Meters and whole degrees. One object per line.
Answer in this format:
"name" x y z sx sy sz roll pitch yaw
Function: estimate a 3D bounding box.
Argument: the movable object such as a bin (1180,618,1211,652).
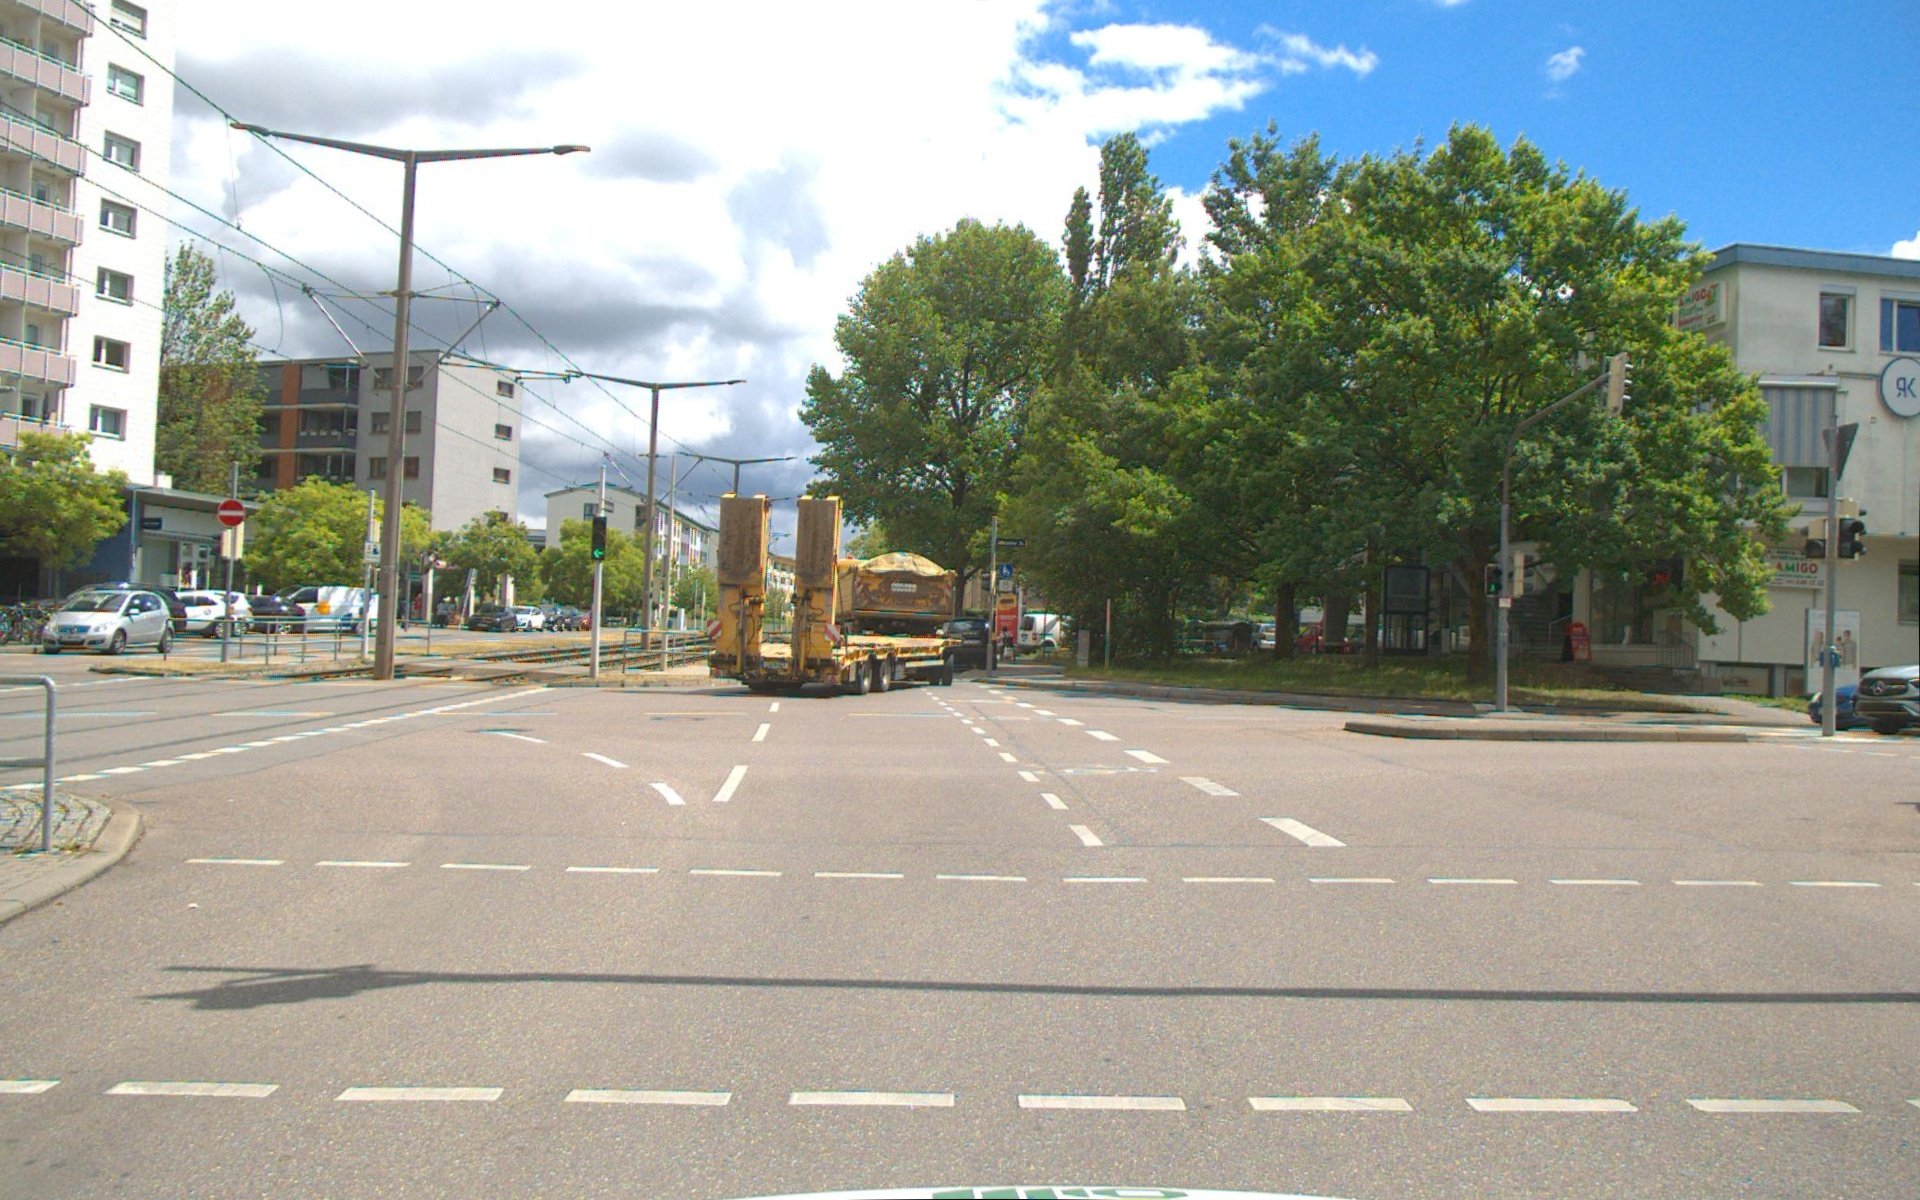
"movable object such as a bin" 10.412 1.549 73.171 1.093 1.455 1.284 1 0 -6

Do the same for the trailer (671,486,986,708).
"trailer" -2.248 -0.028 34.617 2.986 3.839 11.621 1 0 14

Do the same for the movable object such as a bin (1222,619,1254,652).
"movable object such as a bin" 12.454 1.601 74.181 1.093 1.455 1.284 1 0 -6

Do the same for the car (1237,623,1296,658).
"car" 14.180 1.850 76.729 1.901 1.516 3.999 1 0 -1

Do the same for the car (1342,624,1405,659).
"car" 19.121 1.903 76.625 1.709 1.496 3.997 1 0 -4

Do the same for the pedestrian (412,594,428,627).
"pedestrian" -29.899 0.573 91.542 0.599 1.824 0.843 1 -1 -4

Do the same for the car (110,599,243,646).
"car" -26.580 0.760 56.136 3.736 1.522 1.720 1 0 -43

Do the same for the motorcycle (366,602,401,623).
"motorcycle" -35.124 0.753 100.773 1.855 1.199 0.740 1 0 -6

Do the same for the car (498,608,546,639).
"car" -25.593 1.355 96.733 1.955 1.692 4.095 3 0 -5

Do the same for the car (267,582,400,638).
"car" -25.534 0.432 67.492 1.875 2.194 4.727 1 -1 45

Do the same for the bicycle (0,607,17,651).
"bicycle" -24.883 0.693 41.139 2.378 1.085 0.704 1 0 -2

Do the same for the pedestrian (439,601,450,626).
"pedestrian" -30.315 0.789 97.216 0.492 1.486 0.555 1 -1 -31

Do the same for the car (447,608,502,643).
"car" -25.568 1.321 87.238 1.955 1.692 4.095 3 0 -5

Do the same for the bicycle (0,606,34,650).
"bicycle" -24.936 0.696 42.021 2.378 1.085 0.704 1 0 -2

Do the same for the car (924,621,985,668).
"car" -0.233 1.482 56.523 1.612 1.483 4.069 1 0 -7

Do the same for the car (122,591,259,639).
"car" -27.270 0.538 58.679 1.872 1.660 3.977 1 0 41

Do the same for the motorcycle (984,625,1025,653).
"motorcycle" 2.065 1.810 76.590 1.773 1.231 0.706 1 -1 -26

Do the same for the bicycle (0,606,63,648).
"bicycle" -25.027 0.701 43.531 2.378 1.085 0.704 1 0 -2

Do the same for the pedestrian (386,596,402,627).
"pedestrian" -29.614 0.595 86.575 0.656 1.601 0.681 1 -1 -31

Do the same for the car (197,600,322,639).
"car" -26.630 0.737 62.929 1.875 1.408 3.971 1 0 45

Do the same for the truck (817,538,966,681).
"truck" -1.970 0.246 43.824 2.783 3.388 7.963 1 0 -11

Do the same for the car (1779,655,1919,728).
"car" 17.089 1.648 29.708 3.886 1.247 1.909 1 -3 -9

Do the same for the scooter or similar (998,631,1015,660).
"scooter or similar" 1.766 1.731 63.189 0.468 1.073 0.895 1 0 -9

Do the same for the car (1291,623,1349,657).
"car" 16.789 1.853 77.314 1.708 1.468 3.999 1 0 -1

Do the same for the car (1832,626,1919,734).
"car" 16.547 1.285 26.241 4.555 1.620 1.919 1 -3 -9

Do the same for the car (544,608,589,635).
"car" -26.071 1.410 109.680 1.953 1.677 4.099 1 0 0

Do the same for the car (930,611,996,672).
"car" 0.049 1.261 52.038 1.612 1.793 4.564 1 0 -6

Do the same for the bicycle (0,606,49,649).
"bicycle" -24.972 0.698 42.773 2.378 1.085 0.704 1 0 -2

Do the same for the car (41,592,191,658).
"car" -21.220 0.602 41.739 1.781 1.559 3.755 1 0 1

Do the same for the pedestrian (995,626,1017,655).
"pedestrian" 1.760 1.542 63.180 0.761 1.073 0.546 1 -1 -10

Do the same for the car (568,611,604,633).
"car" -26.311 1.535 116.541 1.579 1.451 3.424 1 0 3

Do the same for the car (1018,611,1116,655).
"car" 4.707 1.464 72.885 3.939 1.855 1.795 1 0 -27

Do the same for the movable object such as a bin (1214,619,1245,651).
"movable object such as a bin" 12.304 1.592 75.578 1.093 1.455 1.284 1 0 -6
